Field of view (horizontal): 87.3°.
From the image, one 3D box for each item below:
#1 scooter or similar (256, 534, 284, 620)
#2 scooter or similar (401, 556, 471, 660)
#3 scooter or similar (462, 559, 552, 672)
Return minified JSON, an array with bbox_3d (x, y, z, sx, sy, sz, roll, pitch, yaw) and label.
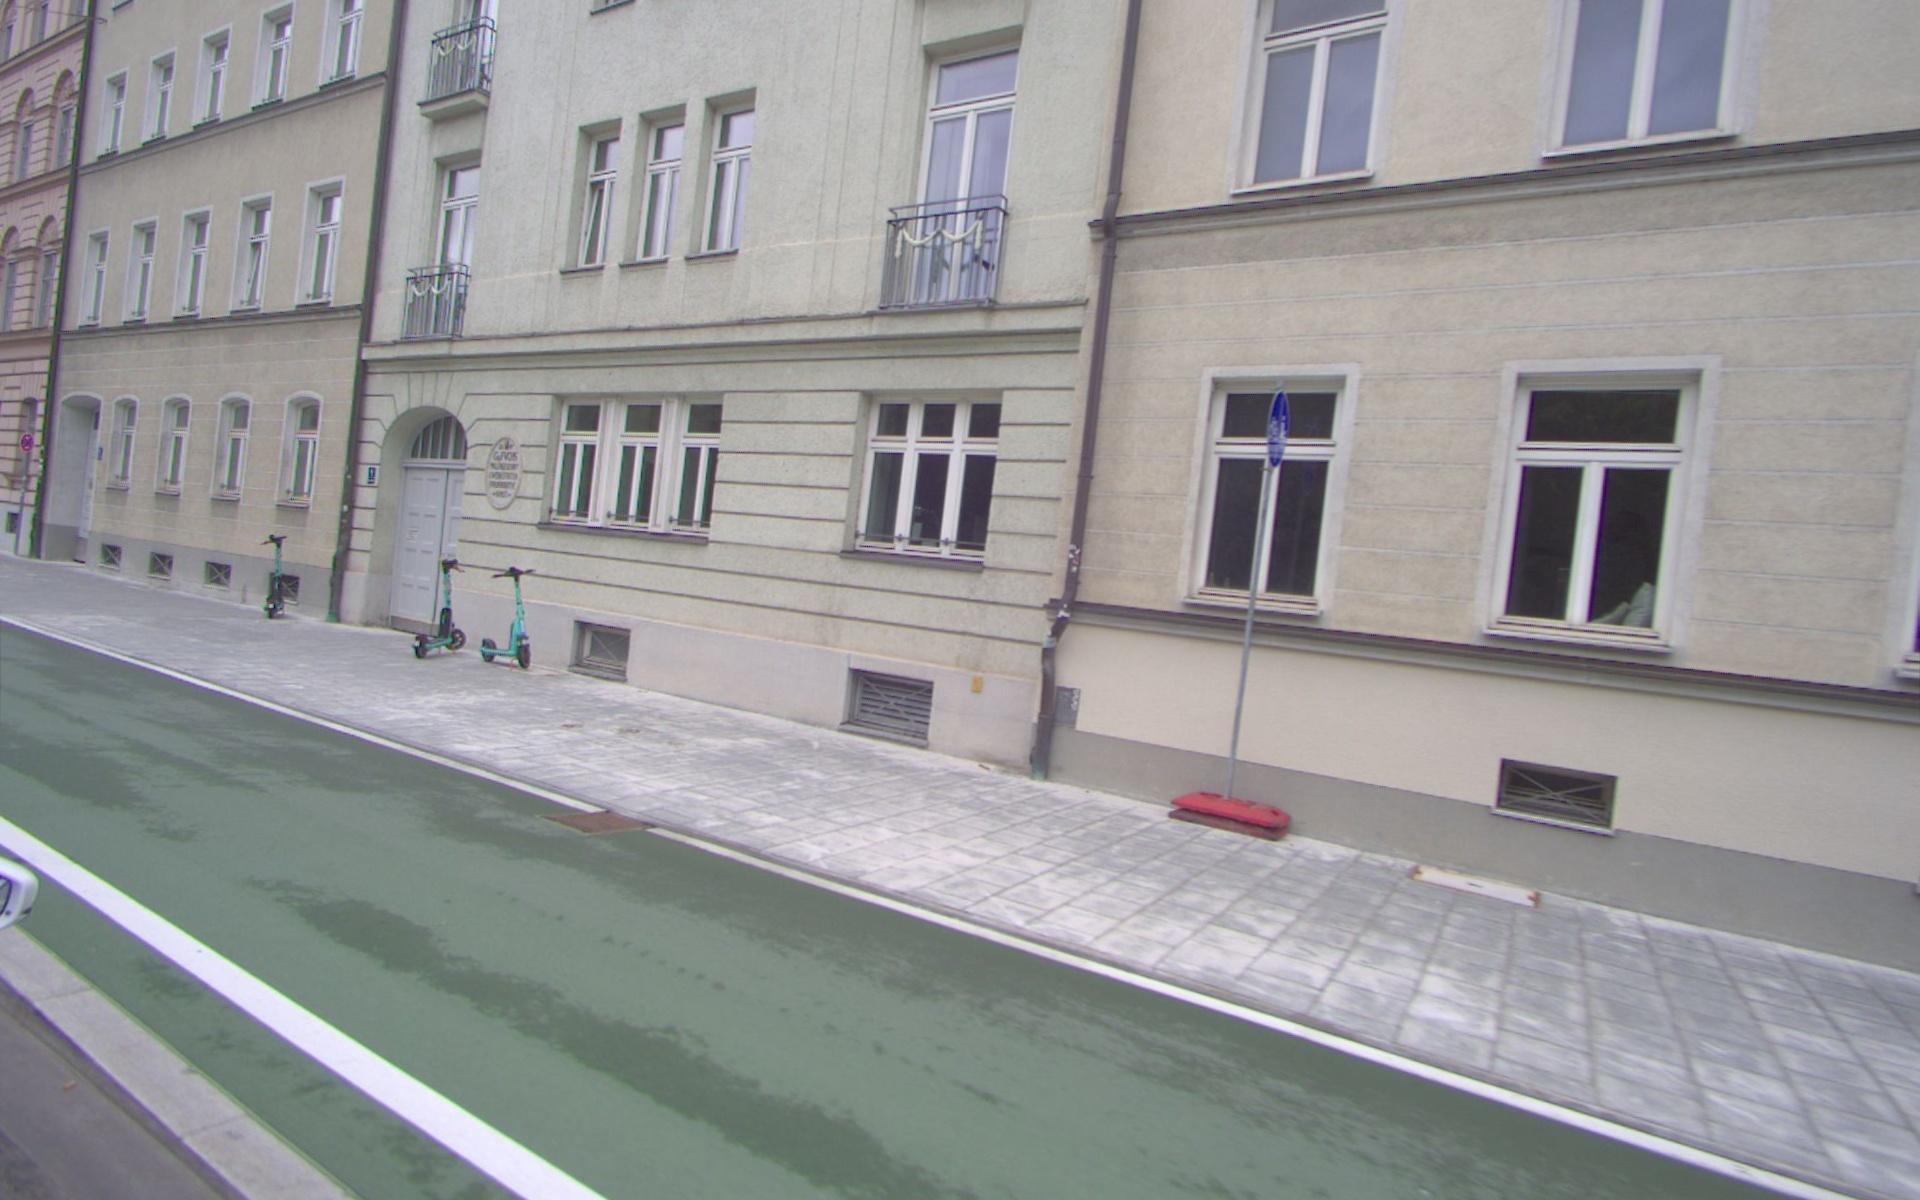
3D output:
[{"bbox_3d":[-10.611,-0.368,15.477,0.244,1.247,1.109,4,2,-33],"label":"scooter or similar"},{"bbox_3d":[-6.693,0.092,12.885,0.242,1.247,1.118,5,2,-2],"label":"scooter or similar"},{"bbox_3d":[-5.695,0.182,12.627,1.101,1.289,0.387,6,2,31],"label":"scooter or similar"}]
